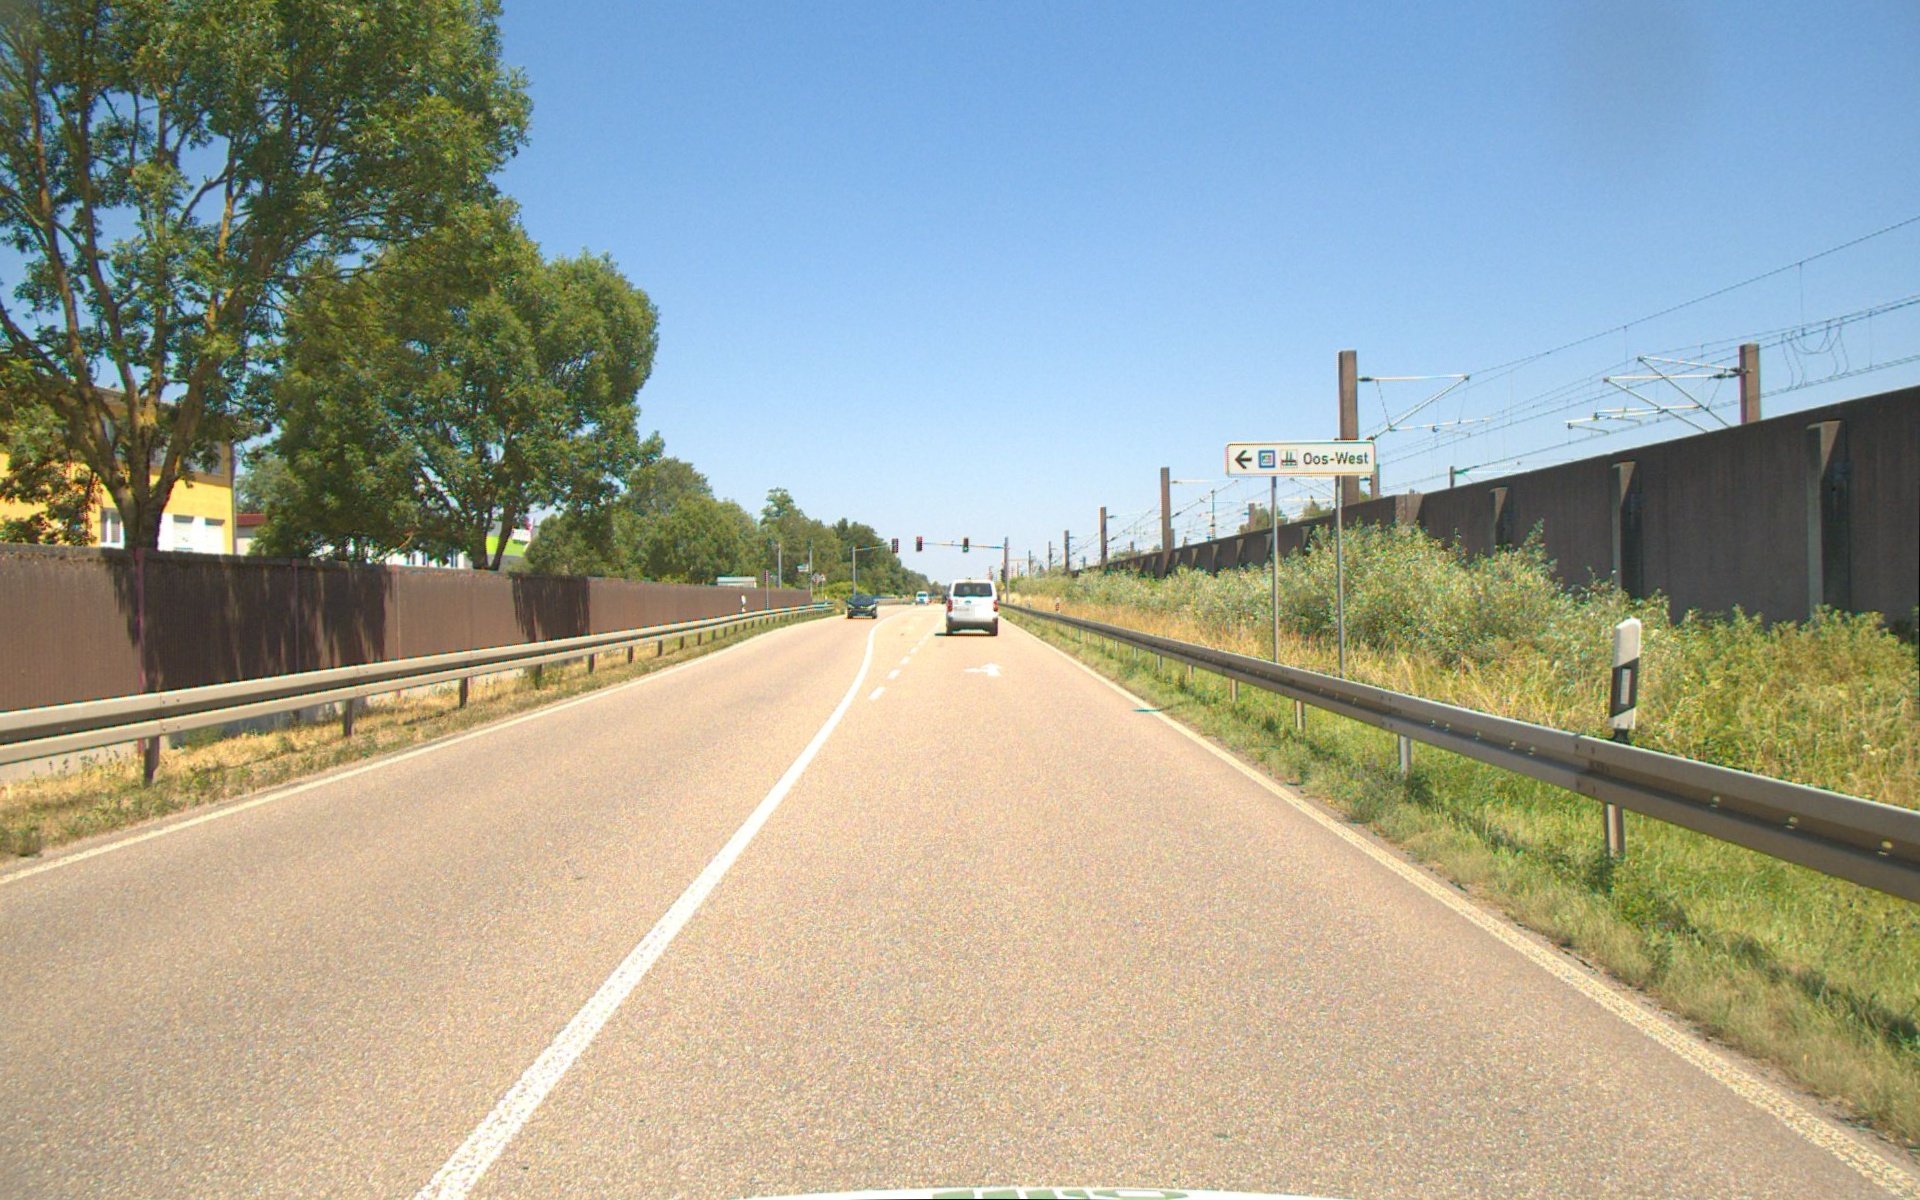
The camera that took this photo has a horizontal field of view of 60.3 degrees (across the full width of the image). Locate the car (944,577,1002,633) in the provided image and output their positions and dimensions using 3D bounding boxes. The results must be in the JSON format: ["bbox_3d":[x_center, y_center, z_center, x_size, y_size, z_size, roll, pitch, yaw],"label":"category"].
[{"bbox_3d":[0.450,0.150,58.872,1.953,1.882,4.000,1,0,0],"label":"car"}]

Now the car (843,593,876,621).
[{"bbox_3d":[-6.113,0.394,100.913,1.782,1.624,3.999,1,0,-1],"label":"car"}]
